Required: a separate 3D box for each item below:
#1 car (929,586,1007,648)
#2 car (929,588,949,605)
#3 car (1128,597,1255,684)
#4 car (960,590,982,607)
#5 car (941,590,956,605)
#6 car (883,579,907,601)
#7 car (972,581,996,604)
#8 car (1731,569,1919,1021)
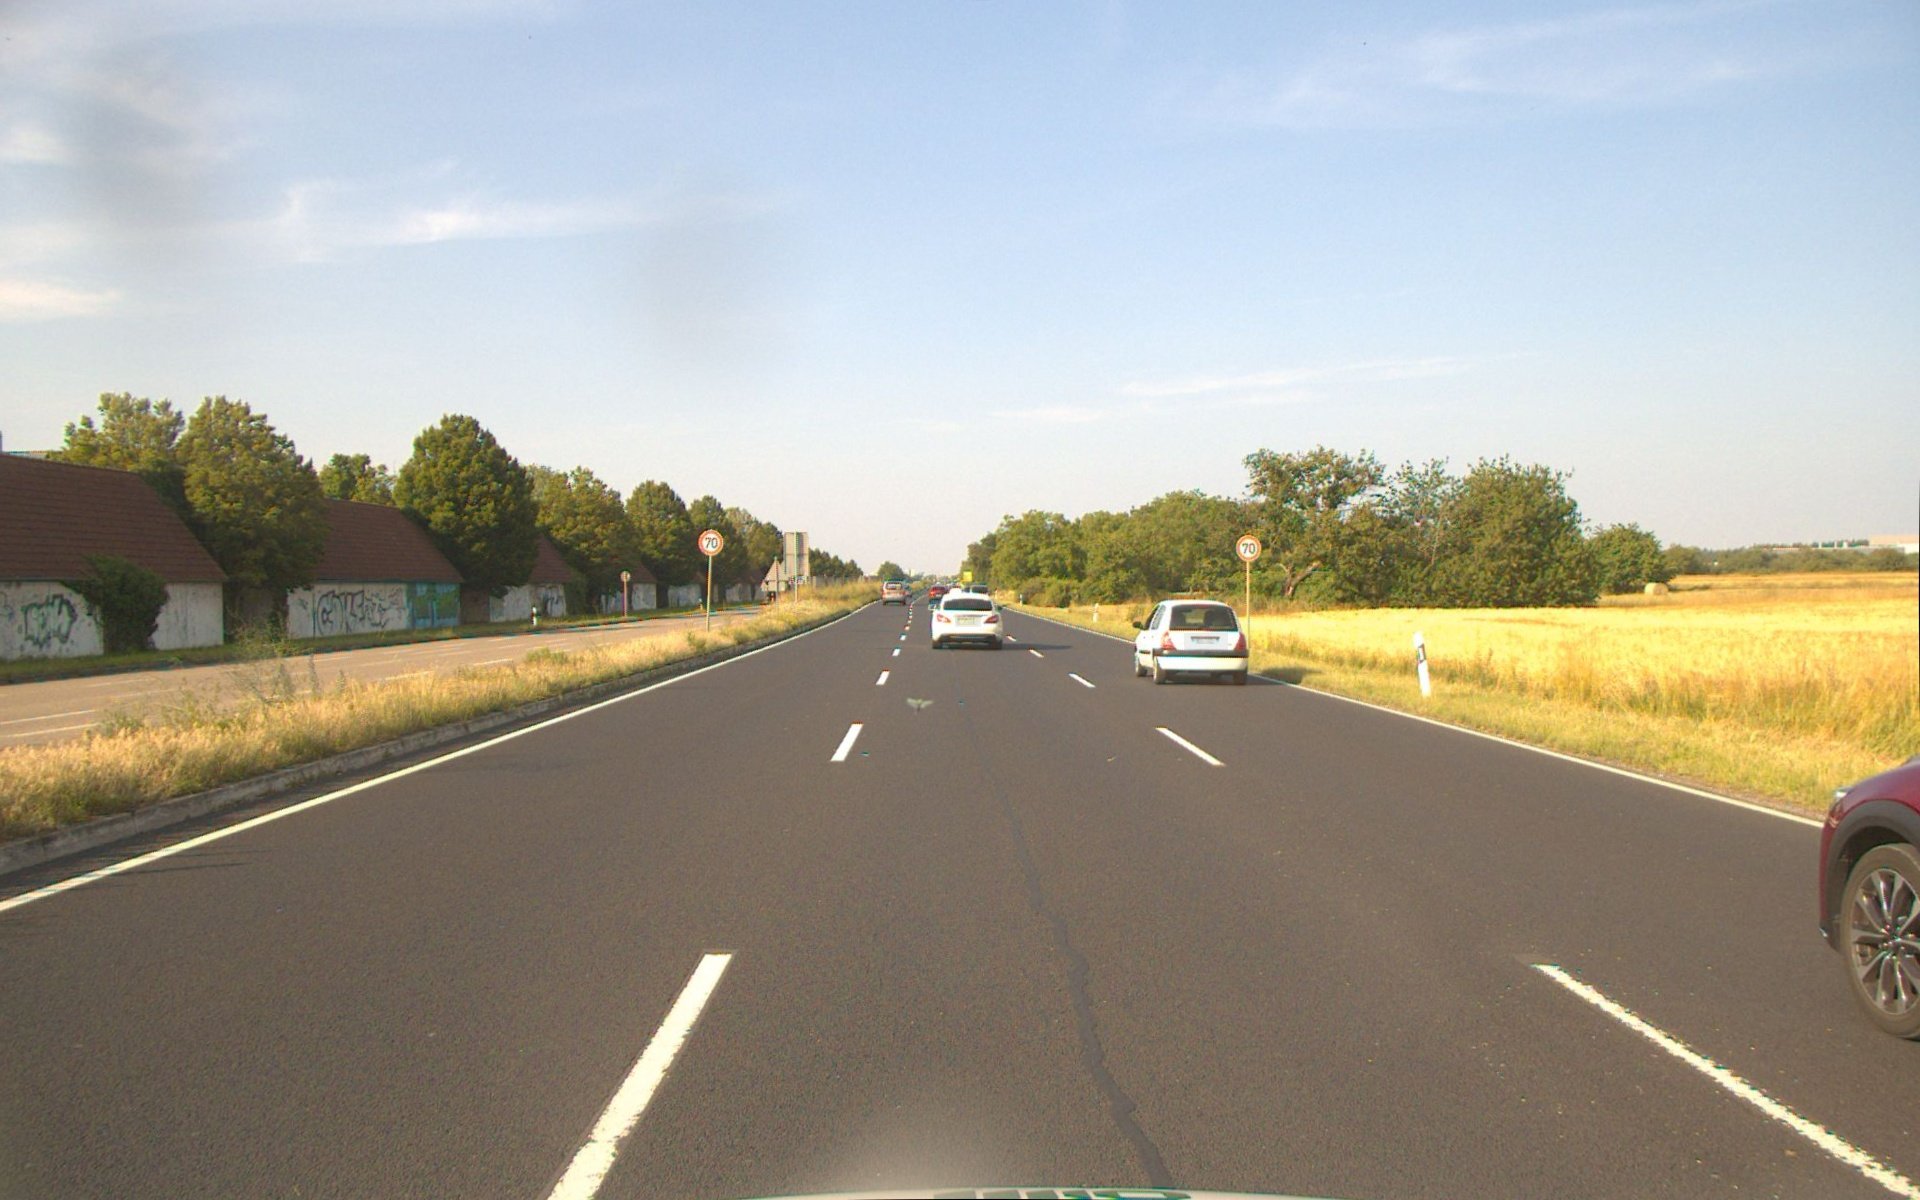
[{"bbox_3d":[0.189,0.448,44.026,1.953,1.543,3.999,1,-1,-1],"label":"car"},{"bbox_3d":[-1.926,-0.319,152.610,1.775,1.461,3.857,1,-1,-1],"label":"car"},{"bbox_3d":[3.998,0.679,29.087,1.584,1.411,3.950,1,-1,-1],"label":"car"},{"bbox_3d":[1.096,-0.137,165.253,1.954,1.613,4.281,1,-1,-3],"label":"car"},{"bbox_3d":[-1.437,-0.305,206.667,1.766,1.937,3.559,1,-1,0],"label":"car"},{"bbox_3d":[-5.157,-0.771,131.757,1.722,1.646,4.000,1,-1,1],"label":"car"},{"bbox_3d":[1.893,-0.607,131.110,1.791,1.758,3.999,1,-1,-1],"label":"car"},{"bbox_3d":[4.114,0.663,4.708,1.670,1.532,4.499,1,-1,-1],"label":"car"}]
